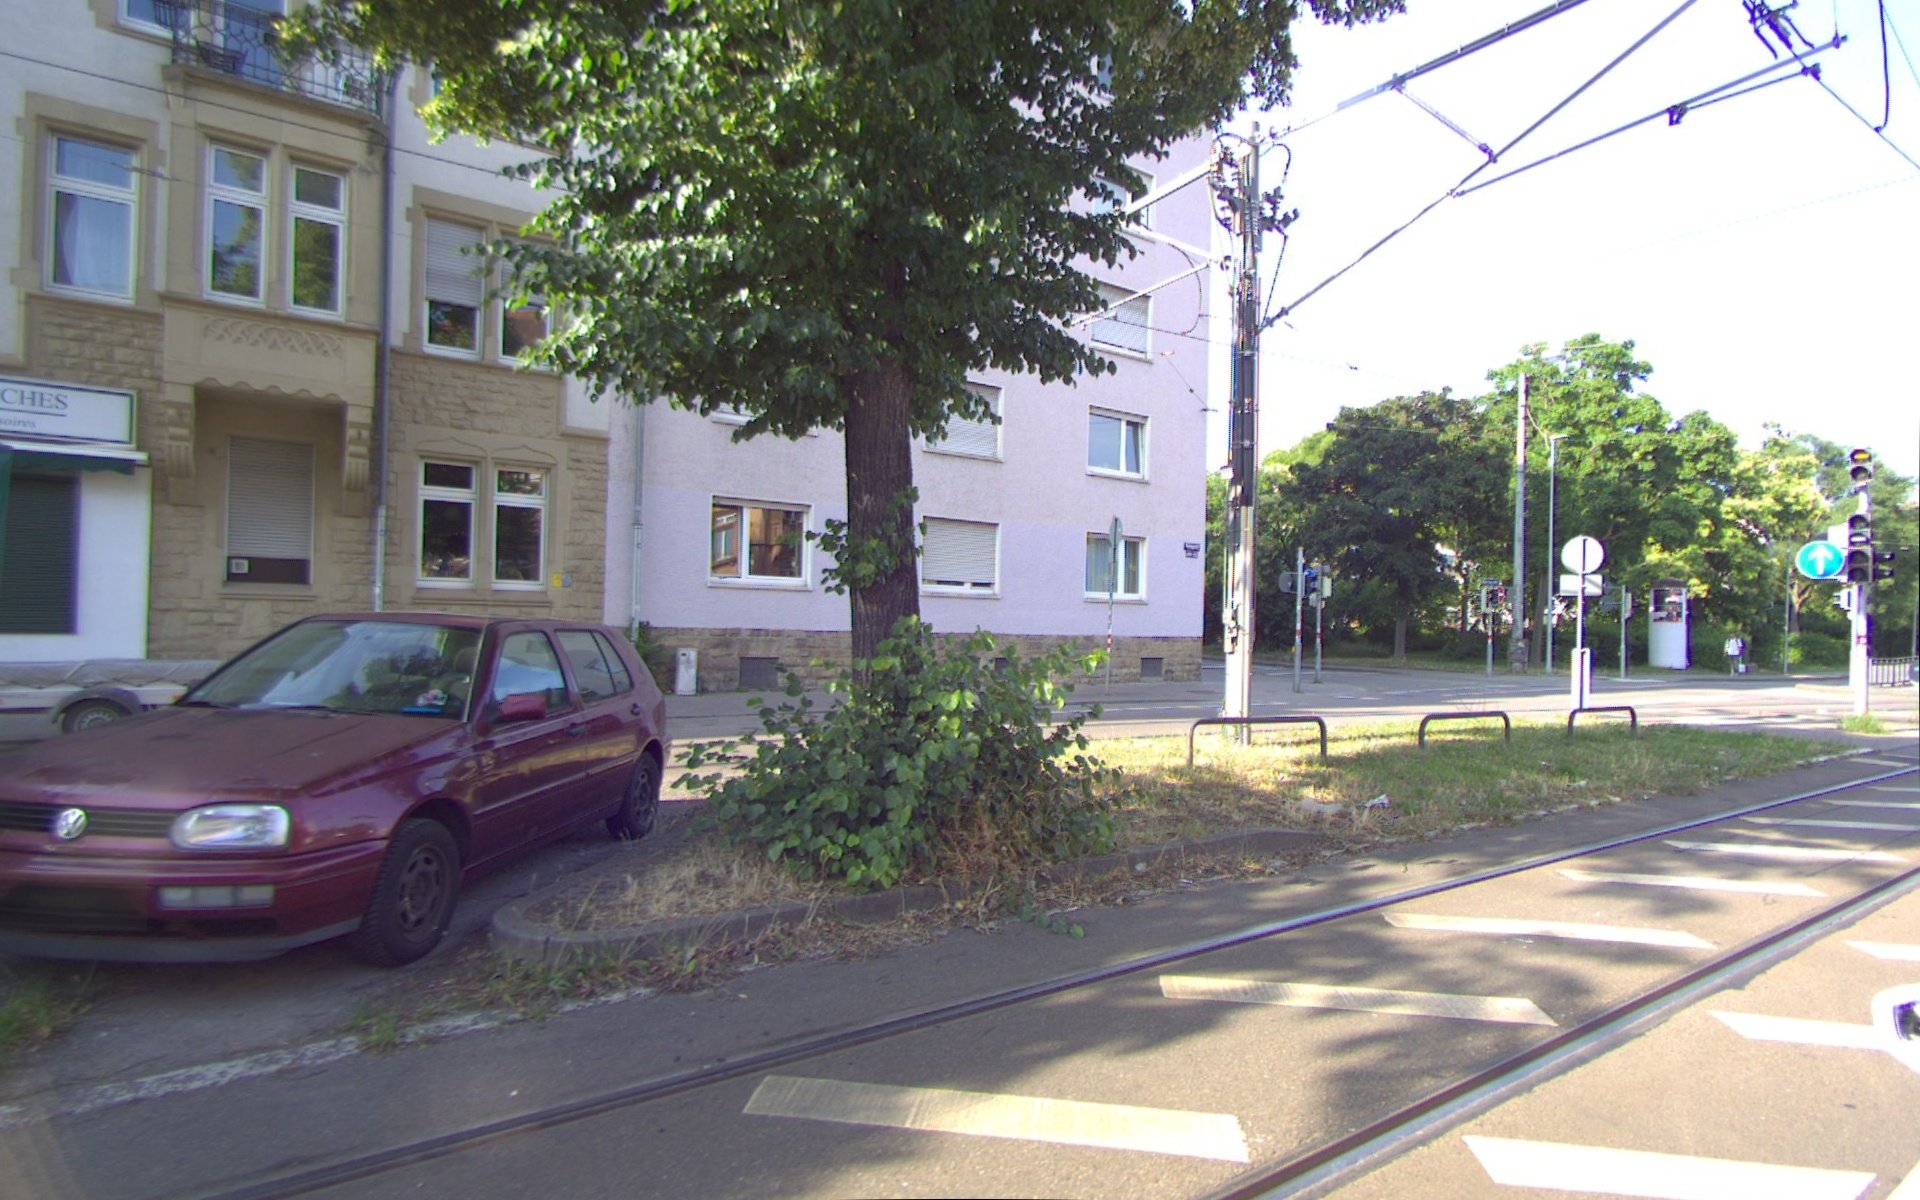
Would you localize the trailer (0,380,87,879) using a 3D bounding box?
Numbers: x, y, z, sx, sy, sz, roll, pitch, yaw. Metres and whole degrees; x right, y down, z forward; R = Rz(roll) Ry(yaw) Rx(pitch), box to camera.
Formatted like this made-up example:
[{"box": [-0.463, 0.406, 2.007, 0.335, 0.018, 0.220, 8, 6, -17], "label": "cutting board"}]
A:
[{"box": [-5.457, 0.127, 3.881, 1.690, 2.424, 2.865, 1, 0, -3], "label": "trailer"}]

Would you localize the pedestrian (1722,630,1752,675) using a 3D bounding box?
[{"box": [34.638, 2.315, 44.780, 0.991, 1.935, 0.704, 2, 0, 43], "label": "pedestrian"}]

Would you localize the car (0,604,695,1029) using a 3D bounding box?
[{"box": [-2.845, 0.760, 5.334, 1.639, 1.378, 3.955, 1, -1, 3], "label": "car"}]

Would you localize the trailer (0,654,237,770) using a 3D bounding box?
[{"box": [-9.209, 1.106, 10.307, 2.851, 0.908, 1.431, 2, 4, -35], "label": "trailer"}]
